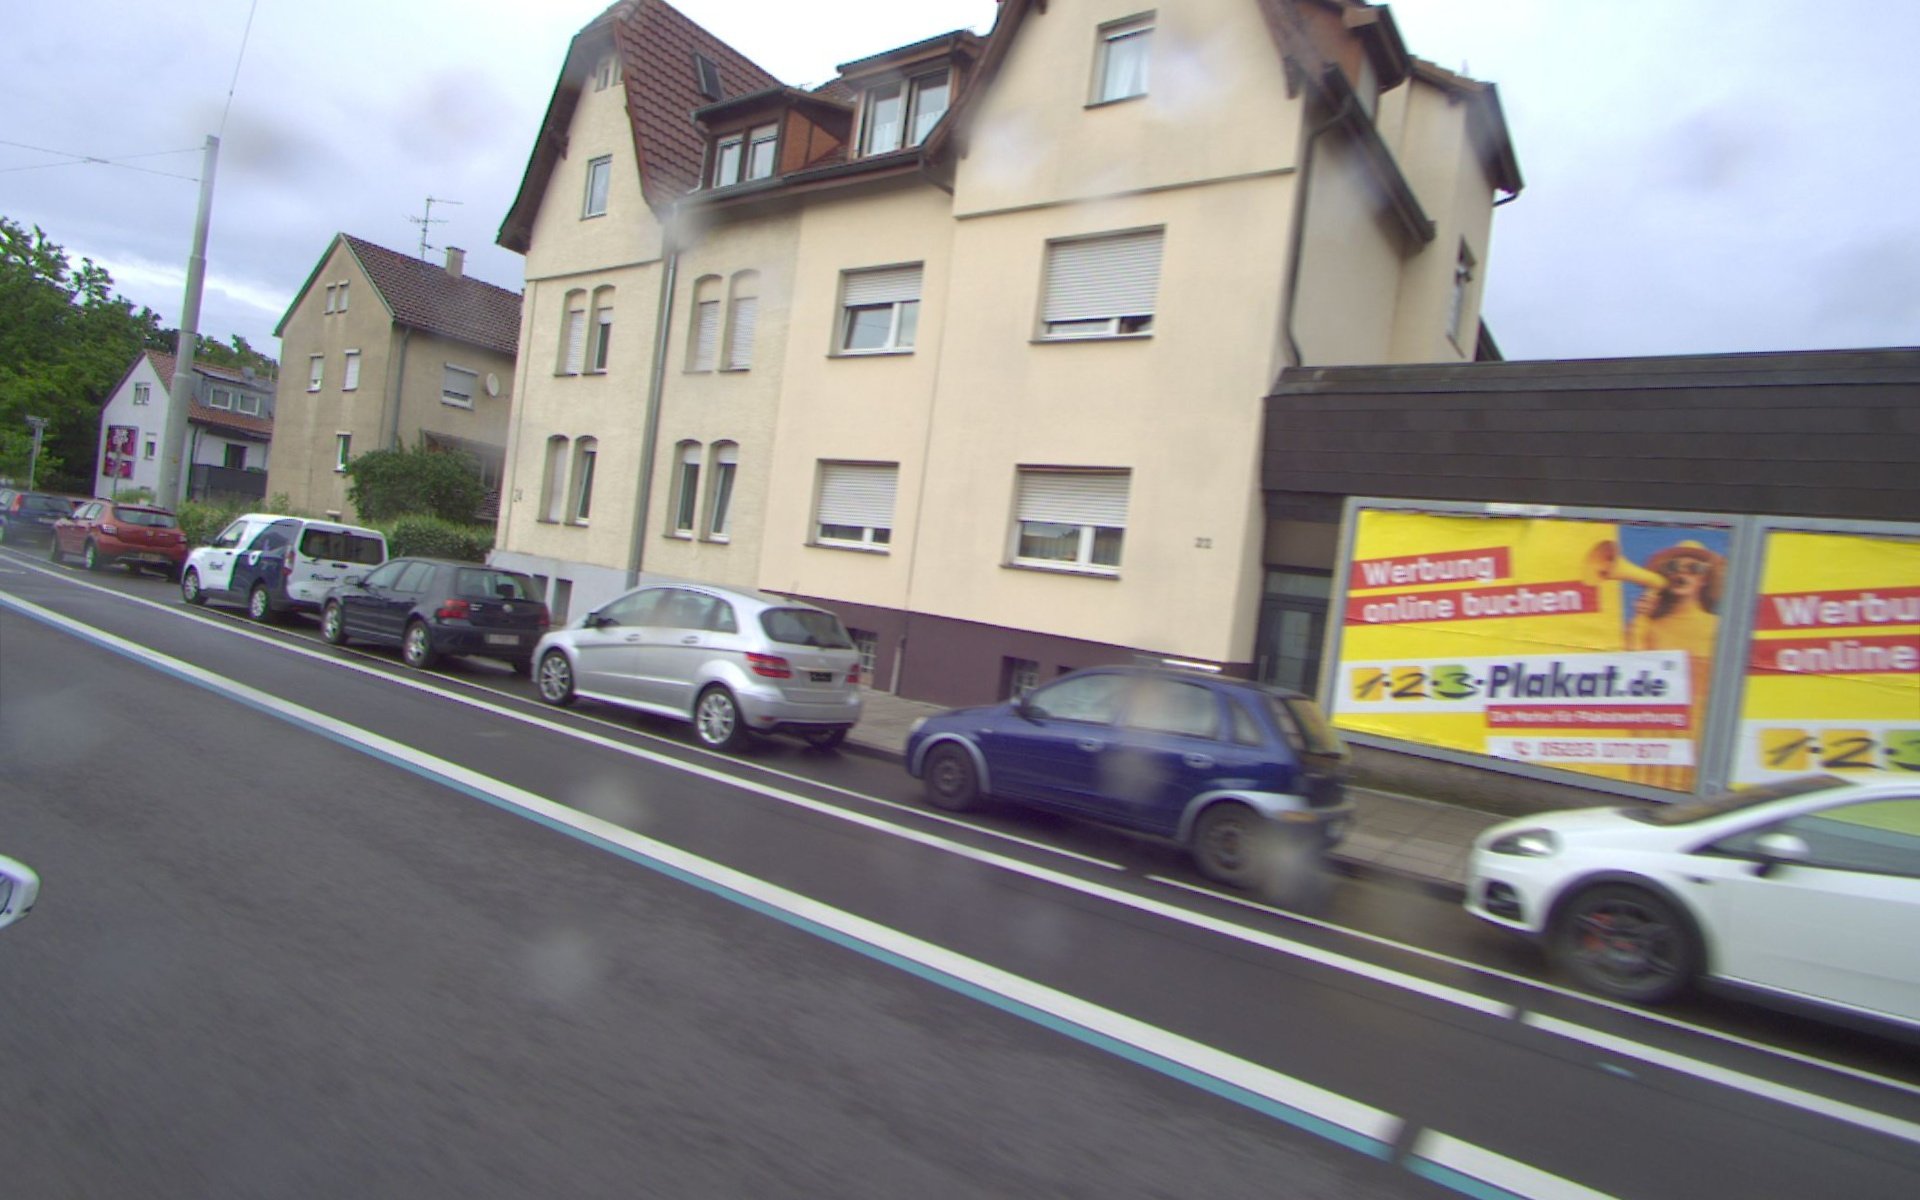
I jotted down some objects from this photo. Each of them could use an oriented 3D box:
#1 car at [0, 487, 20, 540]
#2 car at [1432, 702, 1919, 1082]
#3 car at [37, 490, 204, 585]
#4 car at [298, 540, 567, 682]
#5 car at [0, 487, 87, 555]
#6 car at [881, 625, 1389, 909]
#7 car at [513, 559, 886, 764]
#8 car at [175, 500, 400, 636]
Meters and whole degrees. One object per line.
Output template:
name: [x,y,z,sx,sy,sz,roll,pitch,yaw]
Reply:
car: [-30.557,-2.828,30.647,3.891,1.517,1.850,6,-2,34]
car: [4.973,1.618,5.507,3.977,1.463,1.711,7,-2,35]
car: [-19.548,-1.459,23.392,3.890,1.665,1.850,7,-1,34]
car: [-7.566,0.130,14.310,3.892,1.462,1.648,7,-2,35]
car: [-25.834,-2.225,27.544,3.891,1.517,1.850,6,-2,34]
car: [1.335,1.200,8.271,3.650,1.465,1.628,7,-2,36]
car: [-2.995,0.616,11.234,4.039,1.633,1.648,7,-2,35]
car: [-11.745,-0.580,17.515,3.890,1.828,1.749,7,-1,34]
